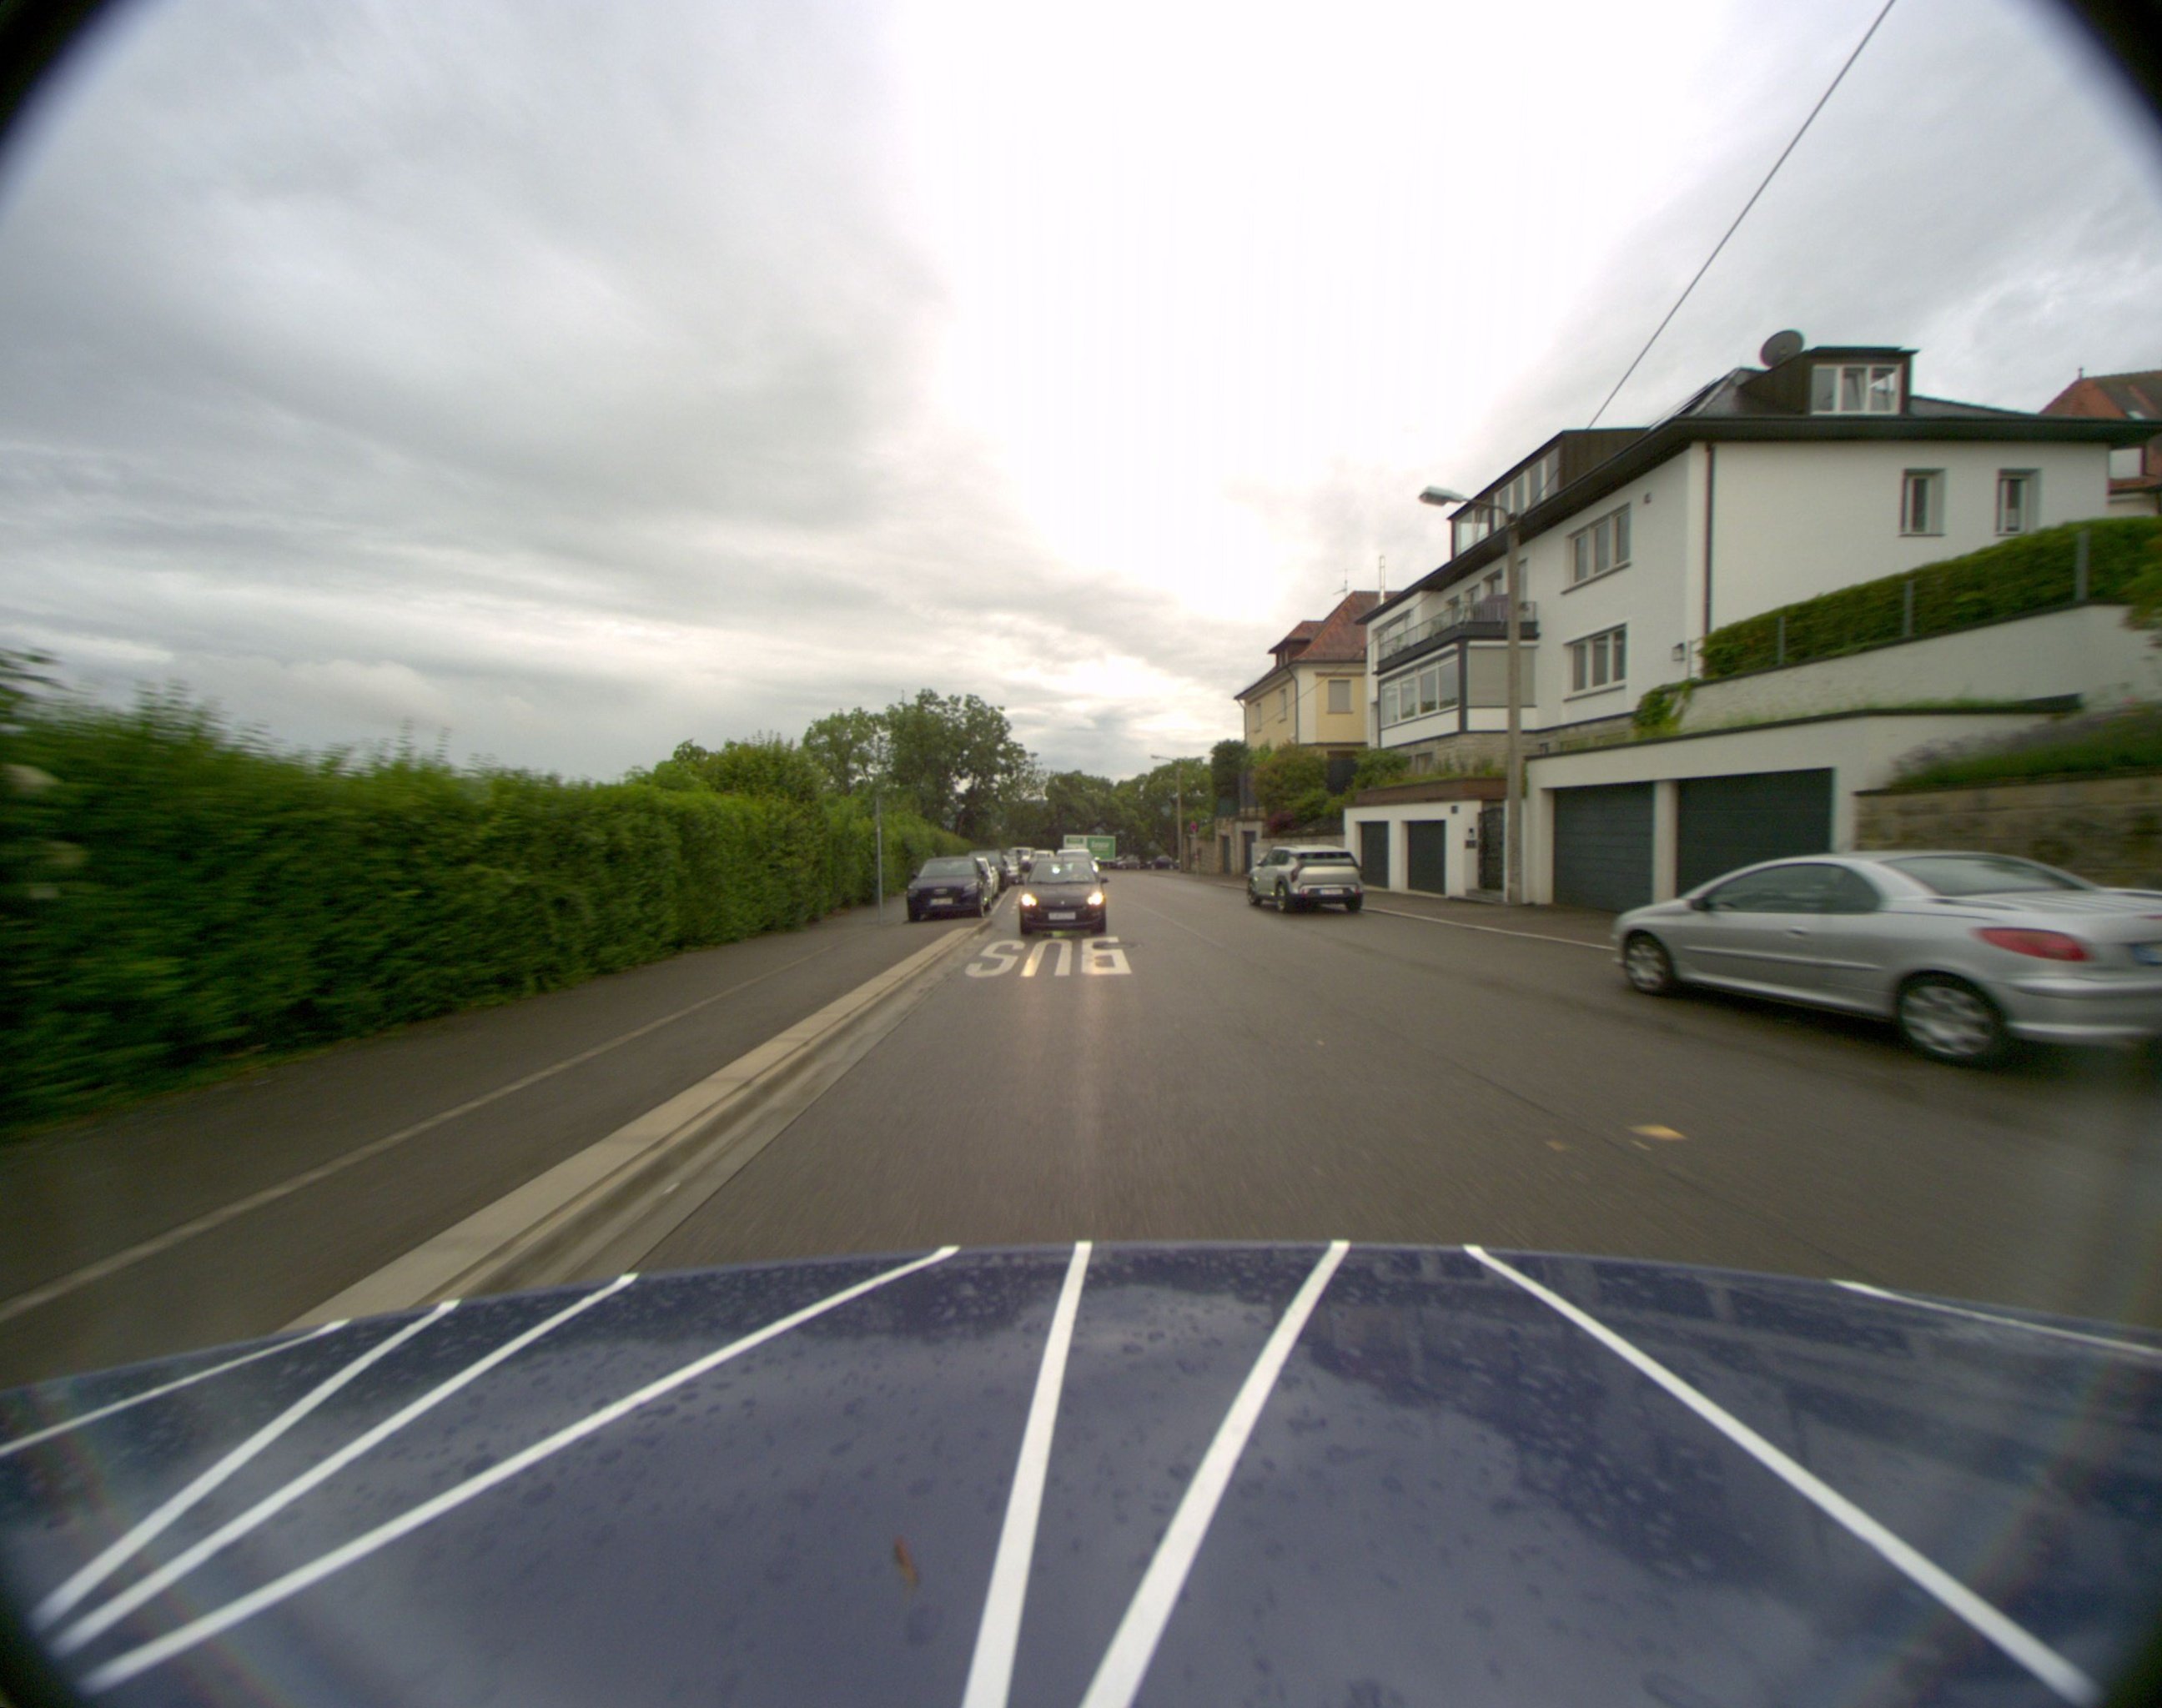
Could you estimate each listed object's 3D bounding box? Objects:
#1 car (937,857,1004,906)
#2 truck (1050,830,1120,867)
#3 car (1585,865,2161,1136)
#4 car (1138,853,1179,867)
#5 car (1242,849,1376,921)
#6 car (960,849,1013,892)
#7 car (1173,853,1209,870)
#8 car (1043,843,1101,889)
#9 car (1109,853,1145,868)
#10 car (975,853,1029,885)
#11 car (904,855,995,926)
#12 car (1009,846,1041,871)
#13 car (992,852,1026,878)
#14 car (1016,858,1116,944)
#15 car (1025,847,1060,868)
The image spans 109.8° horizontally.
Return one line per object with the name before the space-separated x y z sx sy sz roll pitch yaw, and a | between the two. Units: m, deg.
car | -3.570 0.844 25.181 1.718 1.397 4.606 -2 0 -3
truck | 0.562 -0.523 76.396 2.774 3.451 8.952 3 1 30
car | 6.166 0.821 6.040 1.614 1.330 3.840 -2 0 -2
car | 8.926 0.677 87.136 4.906 1.533 1.860 2 0 -42
car | 5.481 0.675 18.877 1.903 1.558 4.237 -1 0 -2
car | -3.959 0.653 32.378 1.892 1.653 4.546 -2 0 -4
car | 13.142 0.916 90.871 4.433 1.811 1.747 2 1 -41
car | -0.324 0.444 31.476 2.191 1.698 4.882 -1 0 0
car | 5.067 0.693 82.969 1.734 1.494 4.145 3 1 41
car | -3.981 0.699 37.478 1.806 1.432 4.635 -2 0 -16
car | -3.247 0.848 19.525 1.759 1.521 4.204 -2 1 -3
car | -4.477 0.330 61.394 1.864 1.936 4.809 1 0 5
car | -4.117 0.611 44.057 1.693 1.414 3.982 -1 1 -1
car | -0.406 0.855 16.009 1.784 1.477 4.404 -2 0 -4
car | -3.360 0.325 67.233 1.862 1.760 4.384 0 0 13
